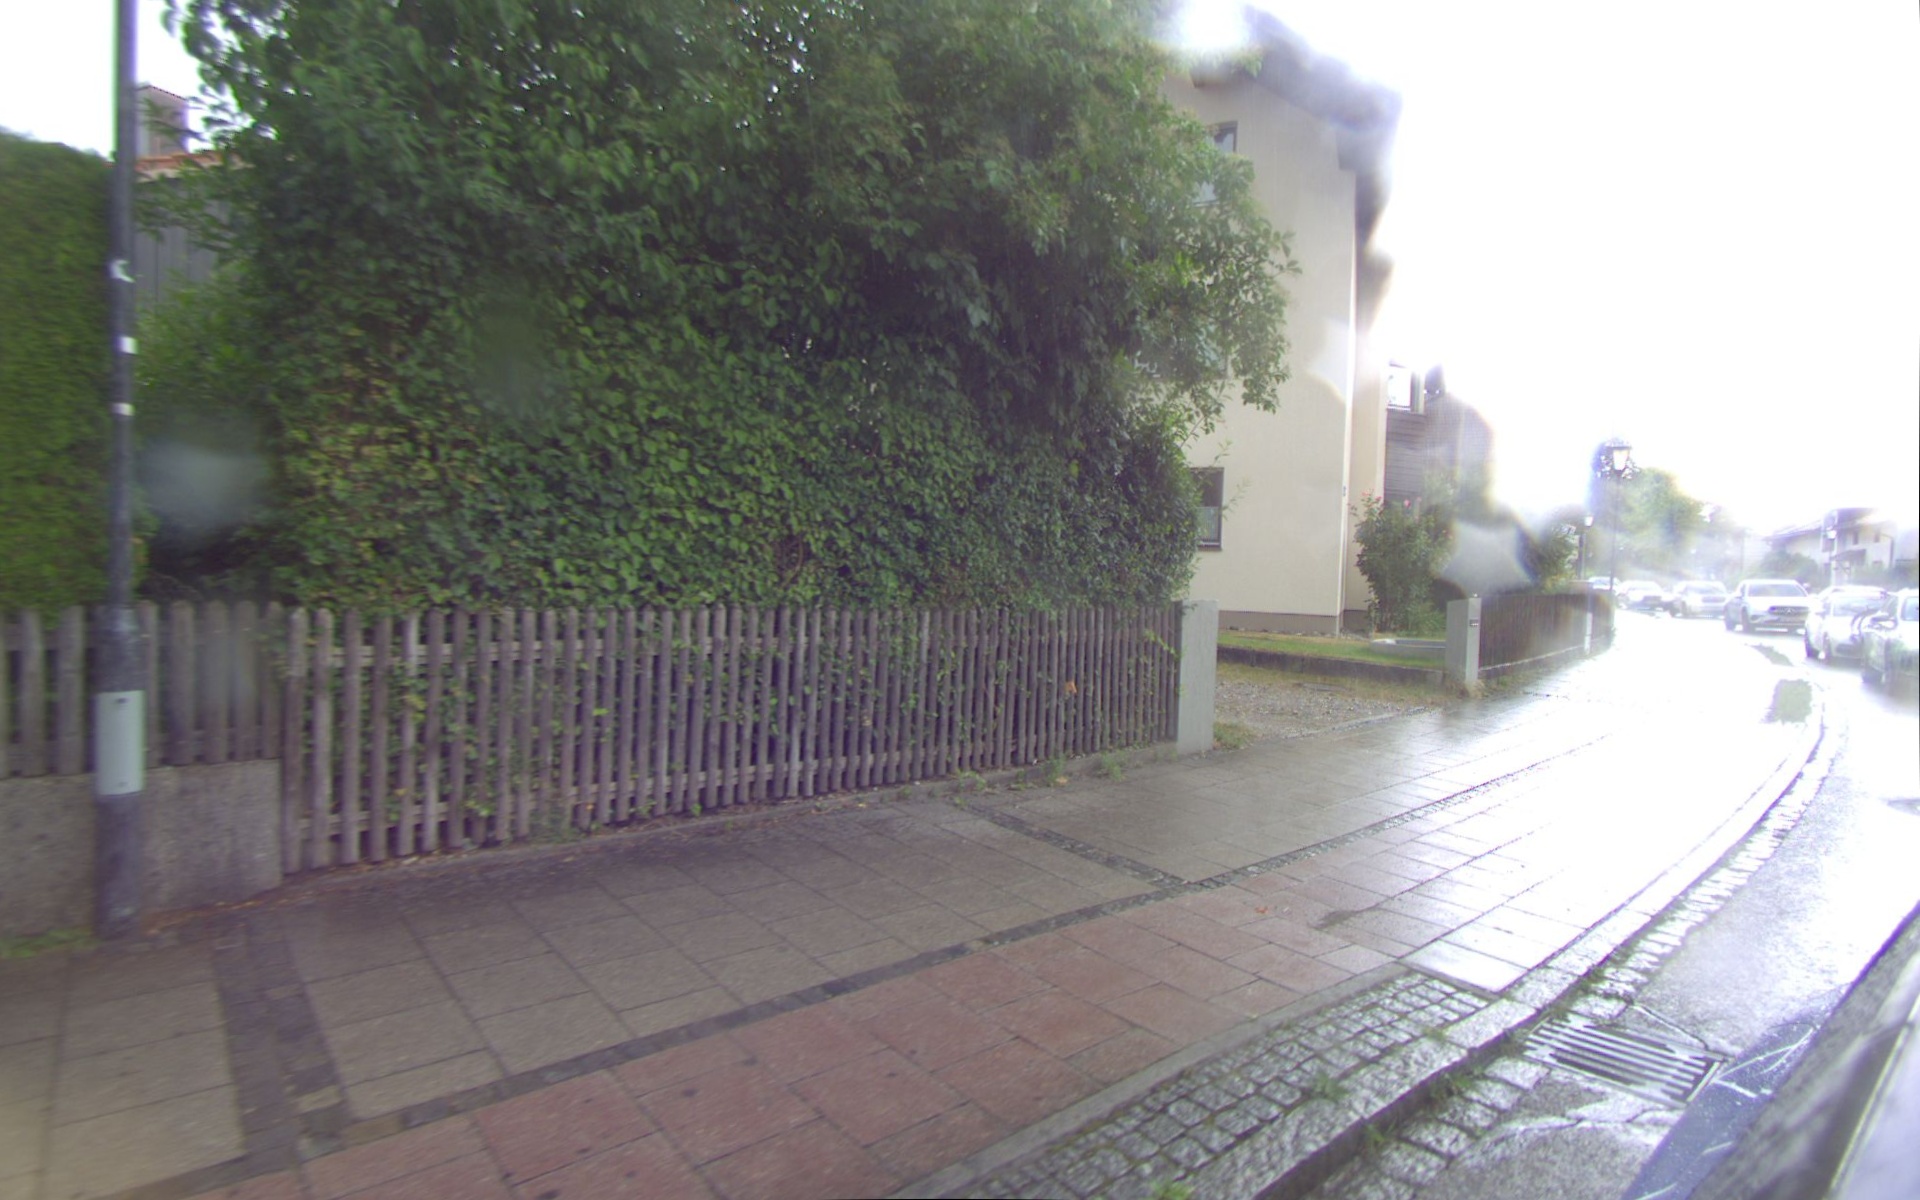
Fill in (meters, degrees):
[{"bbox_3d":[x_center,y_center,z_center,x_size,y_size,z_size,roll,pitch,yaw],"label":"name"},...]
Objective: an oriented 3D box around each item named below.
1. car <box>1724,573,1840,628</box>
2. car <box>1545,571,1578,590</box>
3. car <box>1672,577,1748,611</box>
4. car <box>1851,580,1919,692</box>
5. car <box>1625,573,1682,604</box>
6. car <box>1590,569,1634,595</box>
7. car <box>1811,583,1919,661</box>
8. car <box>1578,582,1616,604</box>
[{"bbox_3d":[25.297,-0.009,31.309,1.776,1.568,4.245,0,1,25],"label":"car"},{"bbox_3d":[52.096,-1.692,87.730,1.774,1.568,4.251,0,1,21],"label":"car"},{"bbox_3d":[32.147,-0.280,43.494,1.776,1.390,4.245,0,1,25],"label":"car"},{"bbox_3d":[15.005,0.448,15.324,1.784,1.497,5.315,0,1,36],"label":"car"},{"bbox_3d":[36.625,-0.598,53.560,1.776,1.568,4.245,0,1,25],"label":"car"},{"bbox_3d":[41.426,-1.132,64.378,1.776,1.568,4.245,0,1,25],"label":"car"},{"bbox_3d":[18.584,0.376,20.489,1.784,1.412,4.225,0,1,36],"label":"car"},{"bbox_3d":[45.977,-0.534,73.130,1.776,1.568,4.245,0,1,25],"label":"car"}]
